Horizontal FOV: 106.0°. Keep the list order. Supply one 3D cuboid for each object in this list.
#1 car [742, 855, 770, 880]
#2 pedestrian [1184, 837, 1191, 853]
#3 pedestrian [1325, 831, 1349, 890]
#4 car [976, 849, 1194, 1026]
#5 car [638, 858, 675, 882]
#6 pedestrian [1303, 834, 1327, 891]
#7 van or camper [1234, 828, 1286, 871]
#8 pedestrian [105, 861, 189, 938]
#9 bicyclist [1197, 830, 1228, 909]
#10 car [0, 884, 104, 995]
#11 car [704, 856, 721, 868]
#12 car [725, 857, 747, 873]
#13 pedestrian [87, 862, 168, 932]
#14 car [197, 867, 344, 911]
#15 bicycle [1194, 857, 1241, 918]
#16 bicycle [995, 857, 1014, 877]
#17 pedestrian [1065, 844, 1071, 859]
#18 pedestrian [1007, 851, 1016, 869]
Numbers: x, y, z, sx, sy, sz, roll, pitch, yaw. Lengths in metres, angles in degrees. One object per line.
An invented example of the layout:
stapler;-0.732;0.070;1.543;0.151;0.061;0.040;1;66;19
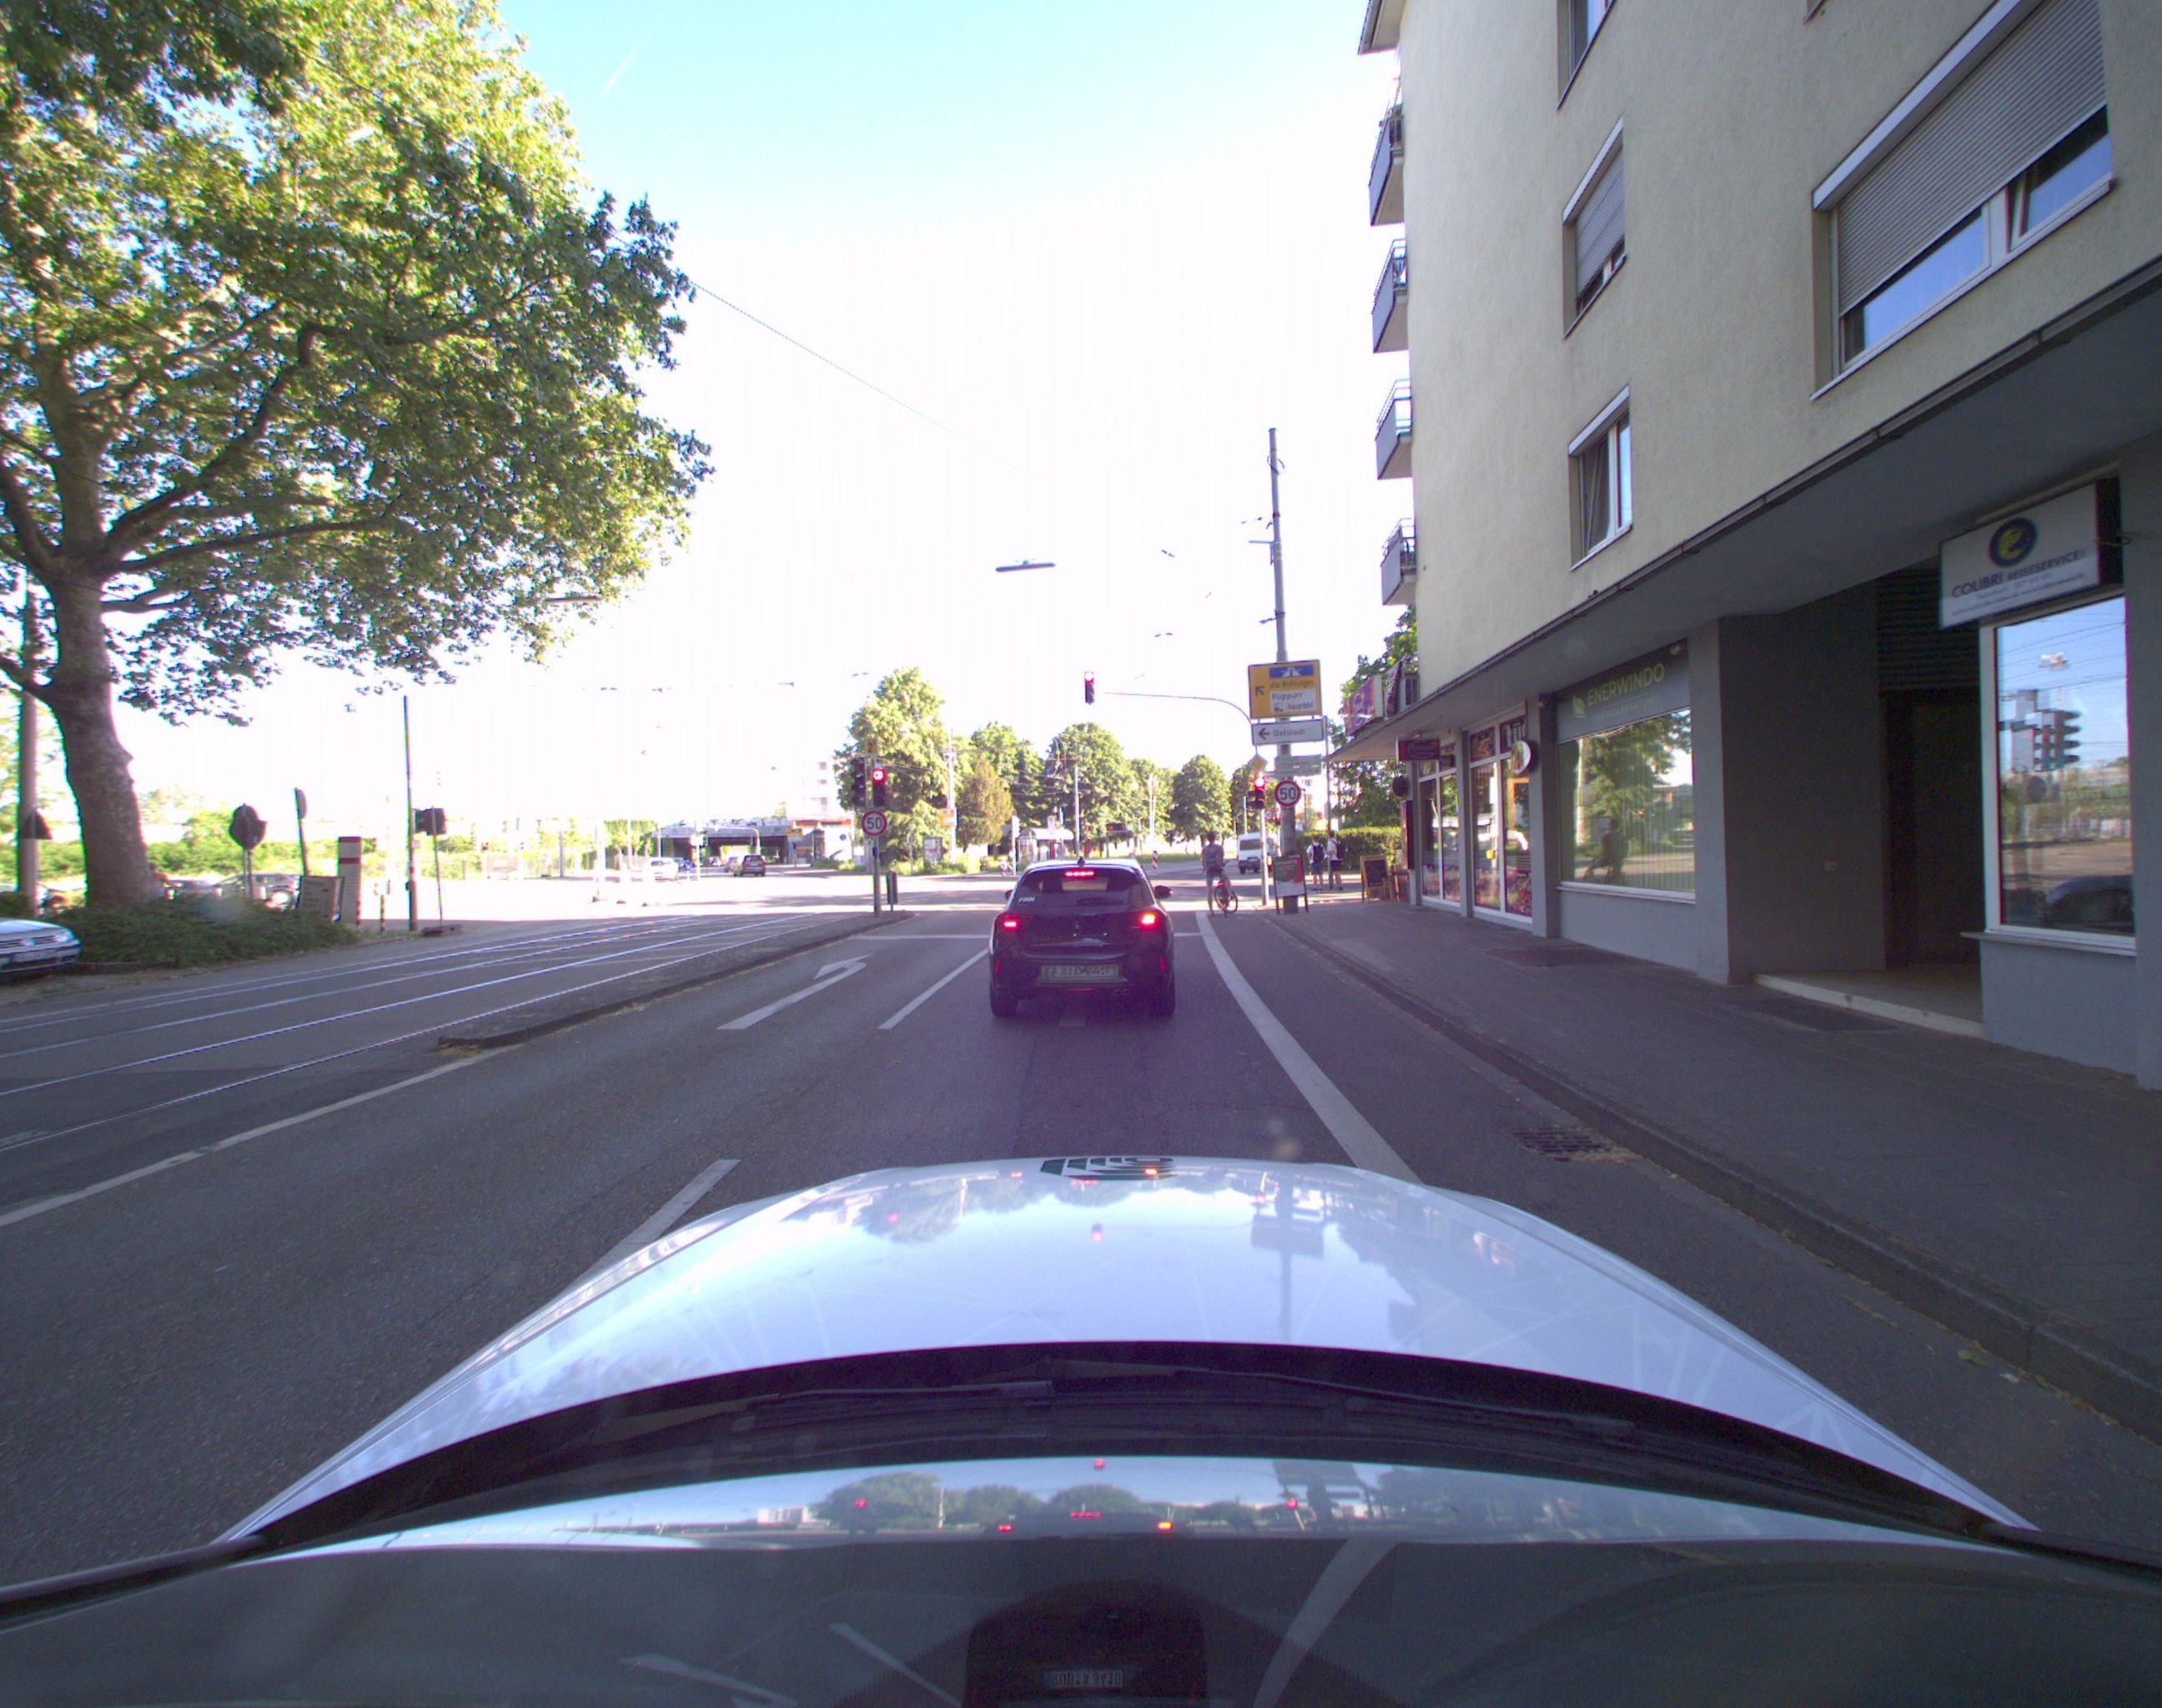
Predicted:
car;-26.116;1.057;65.356;1.917;1.881;4.808;-2;0;-24
pedestrian;12.205;-1.032;93.041;0.608;1.872;0.513;0;-1;-37
pedestrian;7.990;0.196;25.401;0.627;1.820;0.749;-1;-1;22
car;0.096;0.702;8.926;1.833;1.462;3.985;-1;0;2
car;-29.232;1.065;56.163;1.892;1.585;3.809;0;-1;-21
pedestrian;7.347;0.274;25.544;0.627;1.763;0.585;-1;-1;22
van or camper;10.213;-0.223;46.249;2.011;2.310;4.565;-1;-1;23
pedestrian;-20.721;0.983;18.088;0.772;1.661;0.952;0;-1;-9
bicyclist;2.880;0.331;17.828;0.529;1.692;0.571;-2;0;19
car;-16.626;1.195;11.338;3.957;1.453;1.670;-1;0;-1
car;-51.334;1.088;113.407;1.892;1.585;3.809;0;-1;-21
car;-33.441;1.081;78.844;1.806;1.519;4.172;0;-1;-25
pedestrian;-23.227;1.026;19.860;0.842;1.647;0.931;0;-1;1
car;-37.157;1.564;37.504;4.375;1.764;1.969;-2;0;-31
bicycle;3.040;0.714;17.994;0.747;1.235;2.024;-2;0;16
bicycle;-4.381;0.750;46.574;0.793;1.064;2.186;-2;0;2
pedestrian;-1.592;-0.257;101.508;0.736;1.872;0.661;0;-1;-4
pedestrian;-5.916;0.484;69.188;0.566;1.472;0.667;-2;0;9
